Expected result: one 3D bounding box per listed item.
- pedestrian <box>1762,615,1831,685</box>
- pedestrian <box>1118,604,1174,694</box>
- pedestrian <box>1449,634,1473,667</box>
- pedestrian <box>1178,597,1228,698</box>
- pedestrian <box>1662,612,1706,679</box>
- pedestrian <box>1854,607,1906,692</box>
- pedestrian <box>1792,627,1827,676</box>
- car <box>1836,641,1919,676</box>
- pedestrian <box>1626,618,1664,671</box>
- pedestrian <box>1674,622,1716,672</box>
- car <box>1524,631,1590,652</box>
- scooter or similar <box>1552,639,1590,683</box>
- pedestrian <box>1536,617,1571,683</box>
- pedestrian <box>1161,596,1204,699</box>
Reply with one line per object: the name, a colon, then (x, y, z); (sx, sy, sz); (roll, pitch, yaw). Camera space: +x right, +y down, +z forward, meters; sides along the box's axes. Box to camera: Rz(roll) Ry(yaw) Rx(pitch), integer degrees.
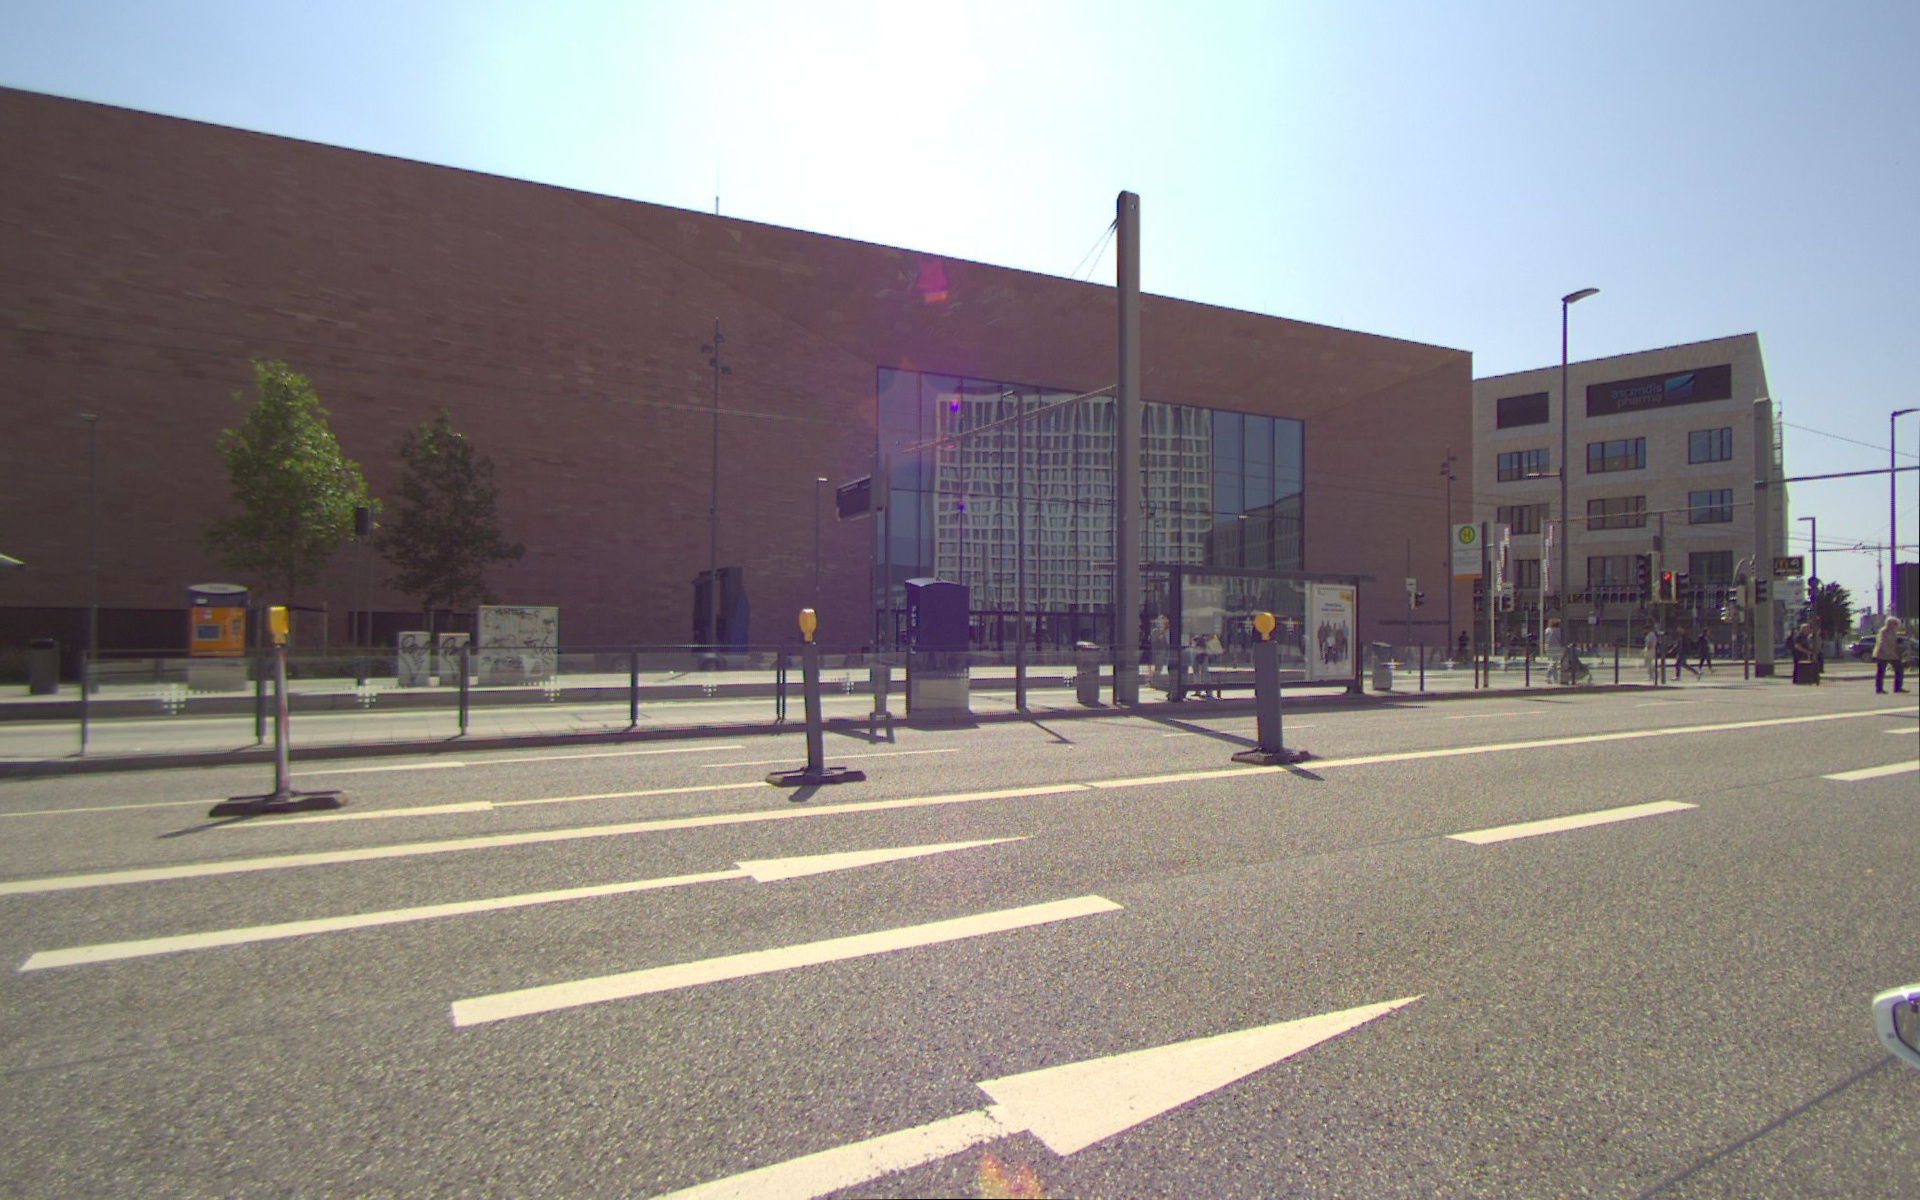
pedestrian: (23.685, 1.395, 28.449); (1.046, 1.915, 1.164); (-1, -1, -28)
pedestrian: (3.910, 1.021, 21.172); (0.815, 1.844, 0.807); (1, 0, -30)
pedestrian: (25.039, 2.512, 50.153); (0.880, 1.592, 0.707); (1, -2, -31)
pedestrian: (4.588, 0.880, 18.934); (0.654, 1.844, 0.720); (1, 0, 37)
pedestrian: (22.643, 1.418, 31.427); (1.009, 2.040, 0.949); (-1, -2, 42)
pedestrian: (21.162, 1.133, 23.104); (0.786, 1.915, 0.634); (1, -2, -29)
pedestrian: (29.647, 1.782, 35.054); (0.681, 1.703, 0.672); (0, -1, 11)
car: (53.535, 3.369, 58.275); (1.785, 1.840, 3.906); (2, -2, -41)
pedestrian: (22.018, 1.420, 32.269); (0.883, 1.696, 1.008); (-1, -2, 42)
pedestrian: (28.477, 1.802, 38.921); (0.966, 1.915, 0.889); (0, -1, -10)
car: (43.674, 3.022, 73.568); (1.670, 1.505, 3.854); (1, -2, -39)
scooter or similar: (15.475, 1.540, 25.445); (0.824, 1.073, 0.502); (1, -1, -30)
pedestrian: (14.819, 1.239, 25.100); (0.642, 1.643, 0.502); (1, -1, -30)
pedestrian: (4.107, 0.863, 18.532); (0.543, 1.844, 0.597); (1, 0, 39)
